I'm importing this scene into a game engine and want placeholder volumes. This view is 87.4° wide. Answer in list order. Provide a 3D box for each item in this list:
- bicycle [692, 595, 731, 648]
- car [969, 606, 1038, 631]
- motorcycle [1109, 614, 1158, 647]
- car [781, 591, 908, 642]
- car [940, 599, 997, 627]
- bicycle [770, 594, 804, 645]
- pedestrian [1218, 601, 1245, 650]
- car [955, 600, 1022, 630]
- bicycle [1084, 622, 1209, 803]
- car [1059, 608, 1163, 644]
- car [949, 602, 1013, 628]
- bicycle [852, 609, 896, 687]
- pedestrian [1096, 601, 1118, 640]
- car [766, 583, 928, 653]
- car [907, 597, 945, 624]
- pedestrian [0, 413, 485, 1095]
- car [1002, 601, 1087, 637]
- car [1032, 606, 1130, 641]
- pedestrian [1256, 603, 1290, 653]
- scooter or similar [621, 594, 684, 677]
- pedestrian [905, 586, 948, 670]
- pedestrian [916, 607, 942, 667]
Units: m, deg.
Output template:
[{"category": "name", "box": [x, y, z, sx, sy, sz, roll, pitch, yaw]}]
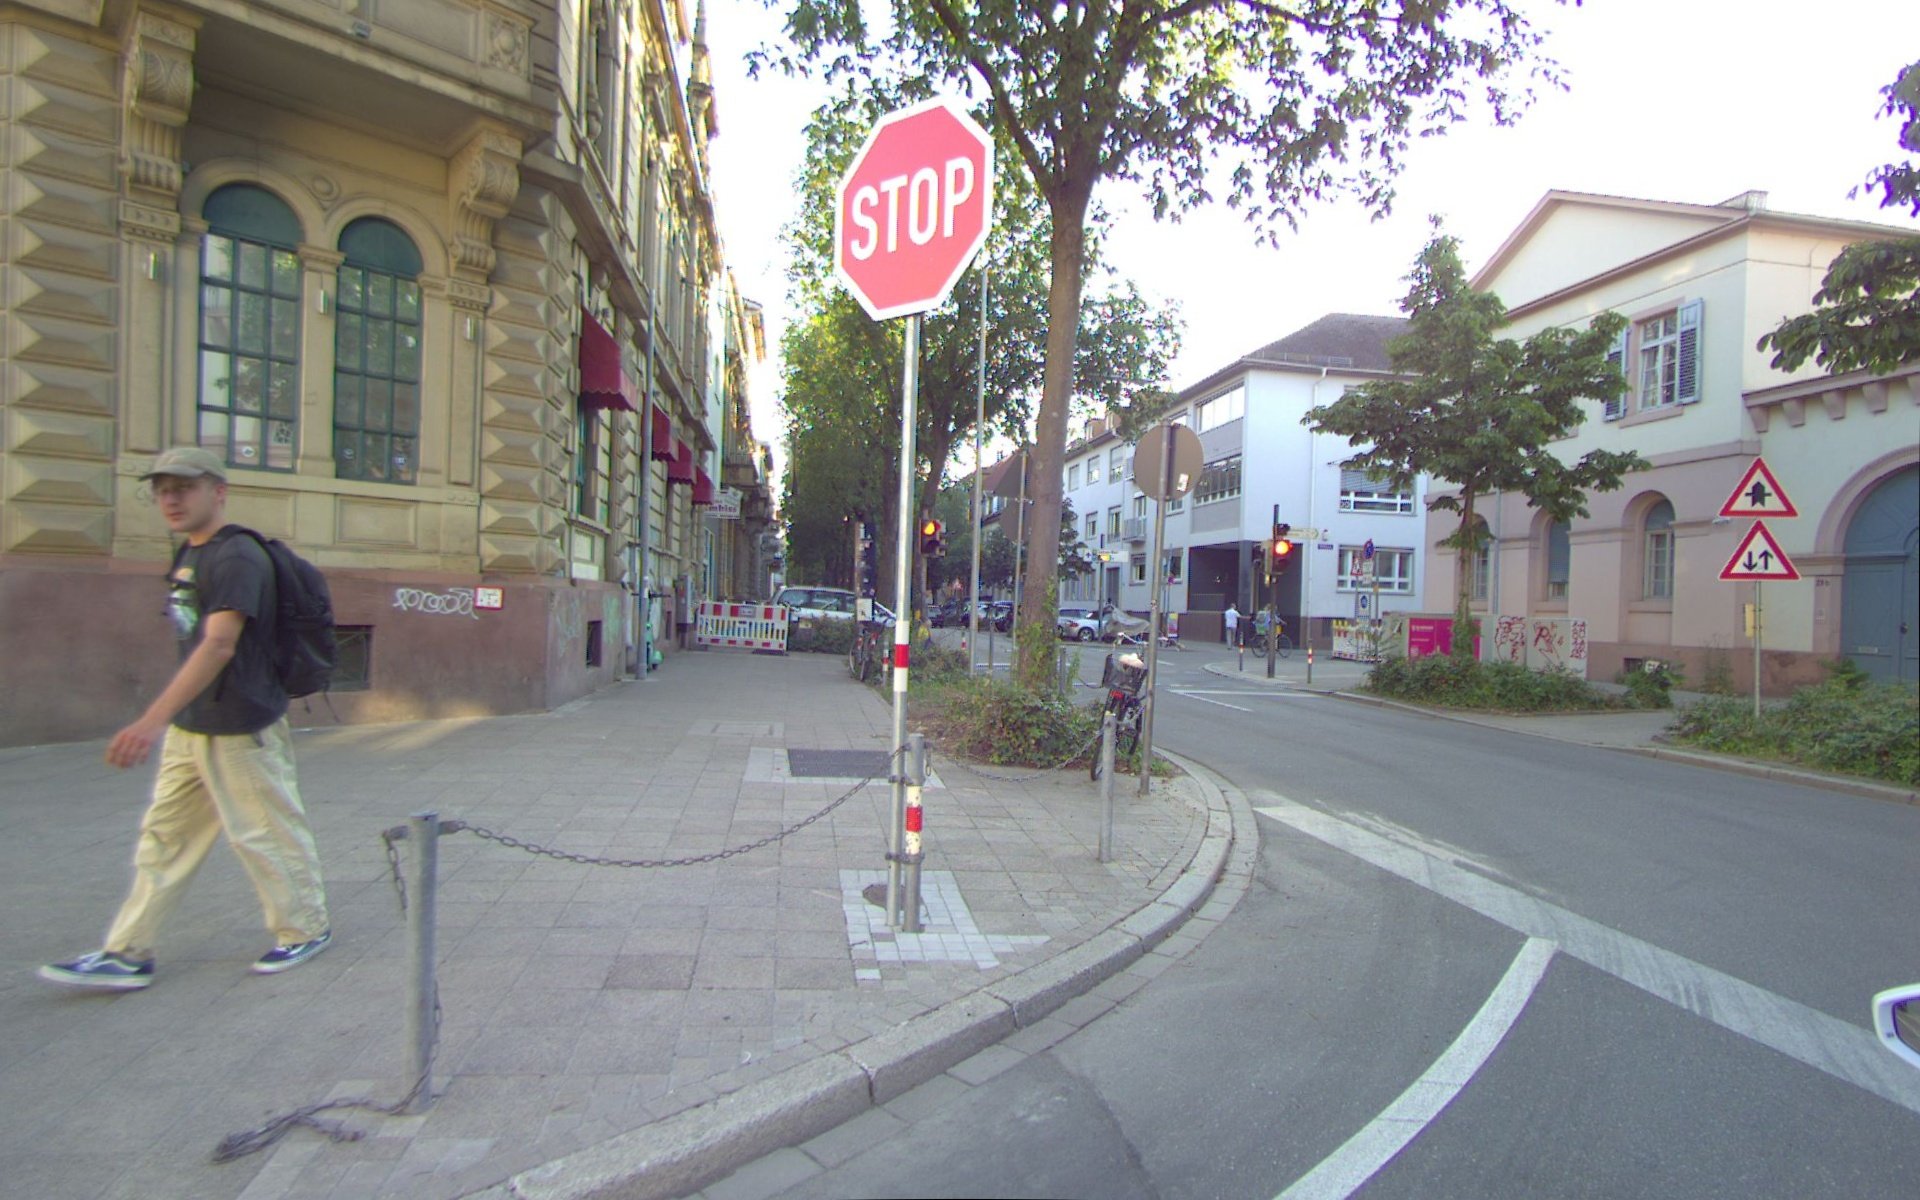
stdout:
[{"category": "bicycle", "box": [-6.083, 0.505, 24.723, 0.627, 1.218, 2.560, 1, 0, -8]}, {"category": "car", "box": [2.674, 1.122, 61.698, 3.955, 1.428, 1.704, 1, 0, -10]}, {"category": "motorcycle", "box": [6.655, 1.153, 38.610, 1.770, 1.215, 0.613, 1, 0, 0]}, {"category": "car", "box": [-4.231, 0.613, 36.711, 4.480, 1.711, 1.830, 2, 0, -9]}, {"category": "car", "box": [0.612, 0.951, 73.948, 3.955, 1.854, 1.704, 2, 0, -10]}, {"category": "bicycle", "box": [-4.373, 0.465, 25.525, 0.723, 1.202, 2.630, 3, 0, -8]}, {"category": "pedestrian", "box": [10.149, 0.955, 37.557, 0.693, 1.775, 0.699, 2, 0, -5]}, {"category": "car", "box": [1.785, 0.934, 63.879, 3.955, 1.839, 1.704, 1, 0, -10]}, {"category": "bicycle", "box": [1.549, 0.868, 8.799, 0.829, 1.284, 2.574, 1, 0, 5]}, {"category": "car", "box": [6.258, 1.069, 41.804, 3.954, 1.360, 1.704, 1, 0, -9]}, {"category": "car", "box": [1.398, 1.012, 66.600, 3.955, 1.550, 1.704, 2, 0, -10]}, {"category": "bicycle", "box": [-1.459, 0.761, 16.817, 0.503, 1.168, 2.098, 3, 0, -9]}, {"category": "pedestrian", "box": [7.243, 0.985, 49.424, 0.755, 1.866, 0.942, 2, 0, -9]}, {"category": "car", "box": [-3.324, 0.527, 29.220, 4.483, 1.859, 1.829, 2, 0, -12]}, {"category": "car", "box": [-2.191, 0.644, 63.994, 1.799, 1.582, 4.020, 3, 0, -10]}, {"category": "pedestrian", "box": [-2.386, 0.395, 3.274, 0.839, 1.762, 1.259, 4, 2, 43]}, {"category": "car", "box": [4.260, 0.961, 50.691, 3.955, 1.713, 1.704, 1, 0, -10]}, {"category": "car", "box": [5.309, 1.023, 44.243, 3.955, 1.461, 1.704, 1, 0, -10]}, {"category": "pedestrian", "box": [11.490, 1.030, 36.869, 0.915, 1.775, 0.770, 2, 0, -5]}, {"category": "scooter or similar", "box": [-4.638, 0.521, 15.228, 0.431, 1.183, 1.288, 3, 0, 3]}, {"category": "pedestrian", "box": [-0.762, 0.621, 22.566, 0.874, 1.840, 0.793, 1, 0, -4]}, {"category": "pedestrian", "box": [-0.730, 0.851, 23.448, 0.531, 1.353, 0.506, 2, 0, -4]}]
